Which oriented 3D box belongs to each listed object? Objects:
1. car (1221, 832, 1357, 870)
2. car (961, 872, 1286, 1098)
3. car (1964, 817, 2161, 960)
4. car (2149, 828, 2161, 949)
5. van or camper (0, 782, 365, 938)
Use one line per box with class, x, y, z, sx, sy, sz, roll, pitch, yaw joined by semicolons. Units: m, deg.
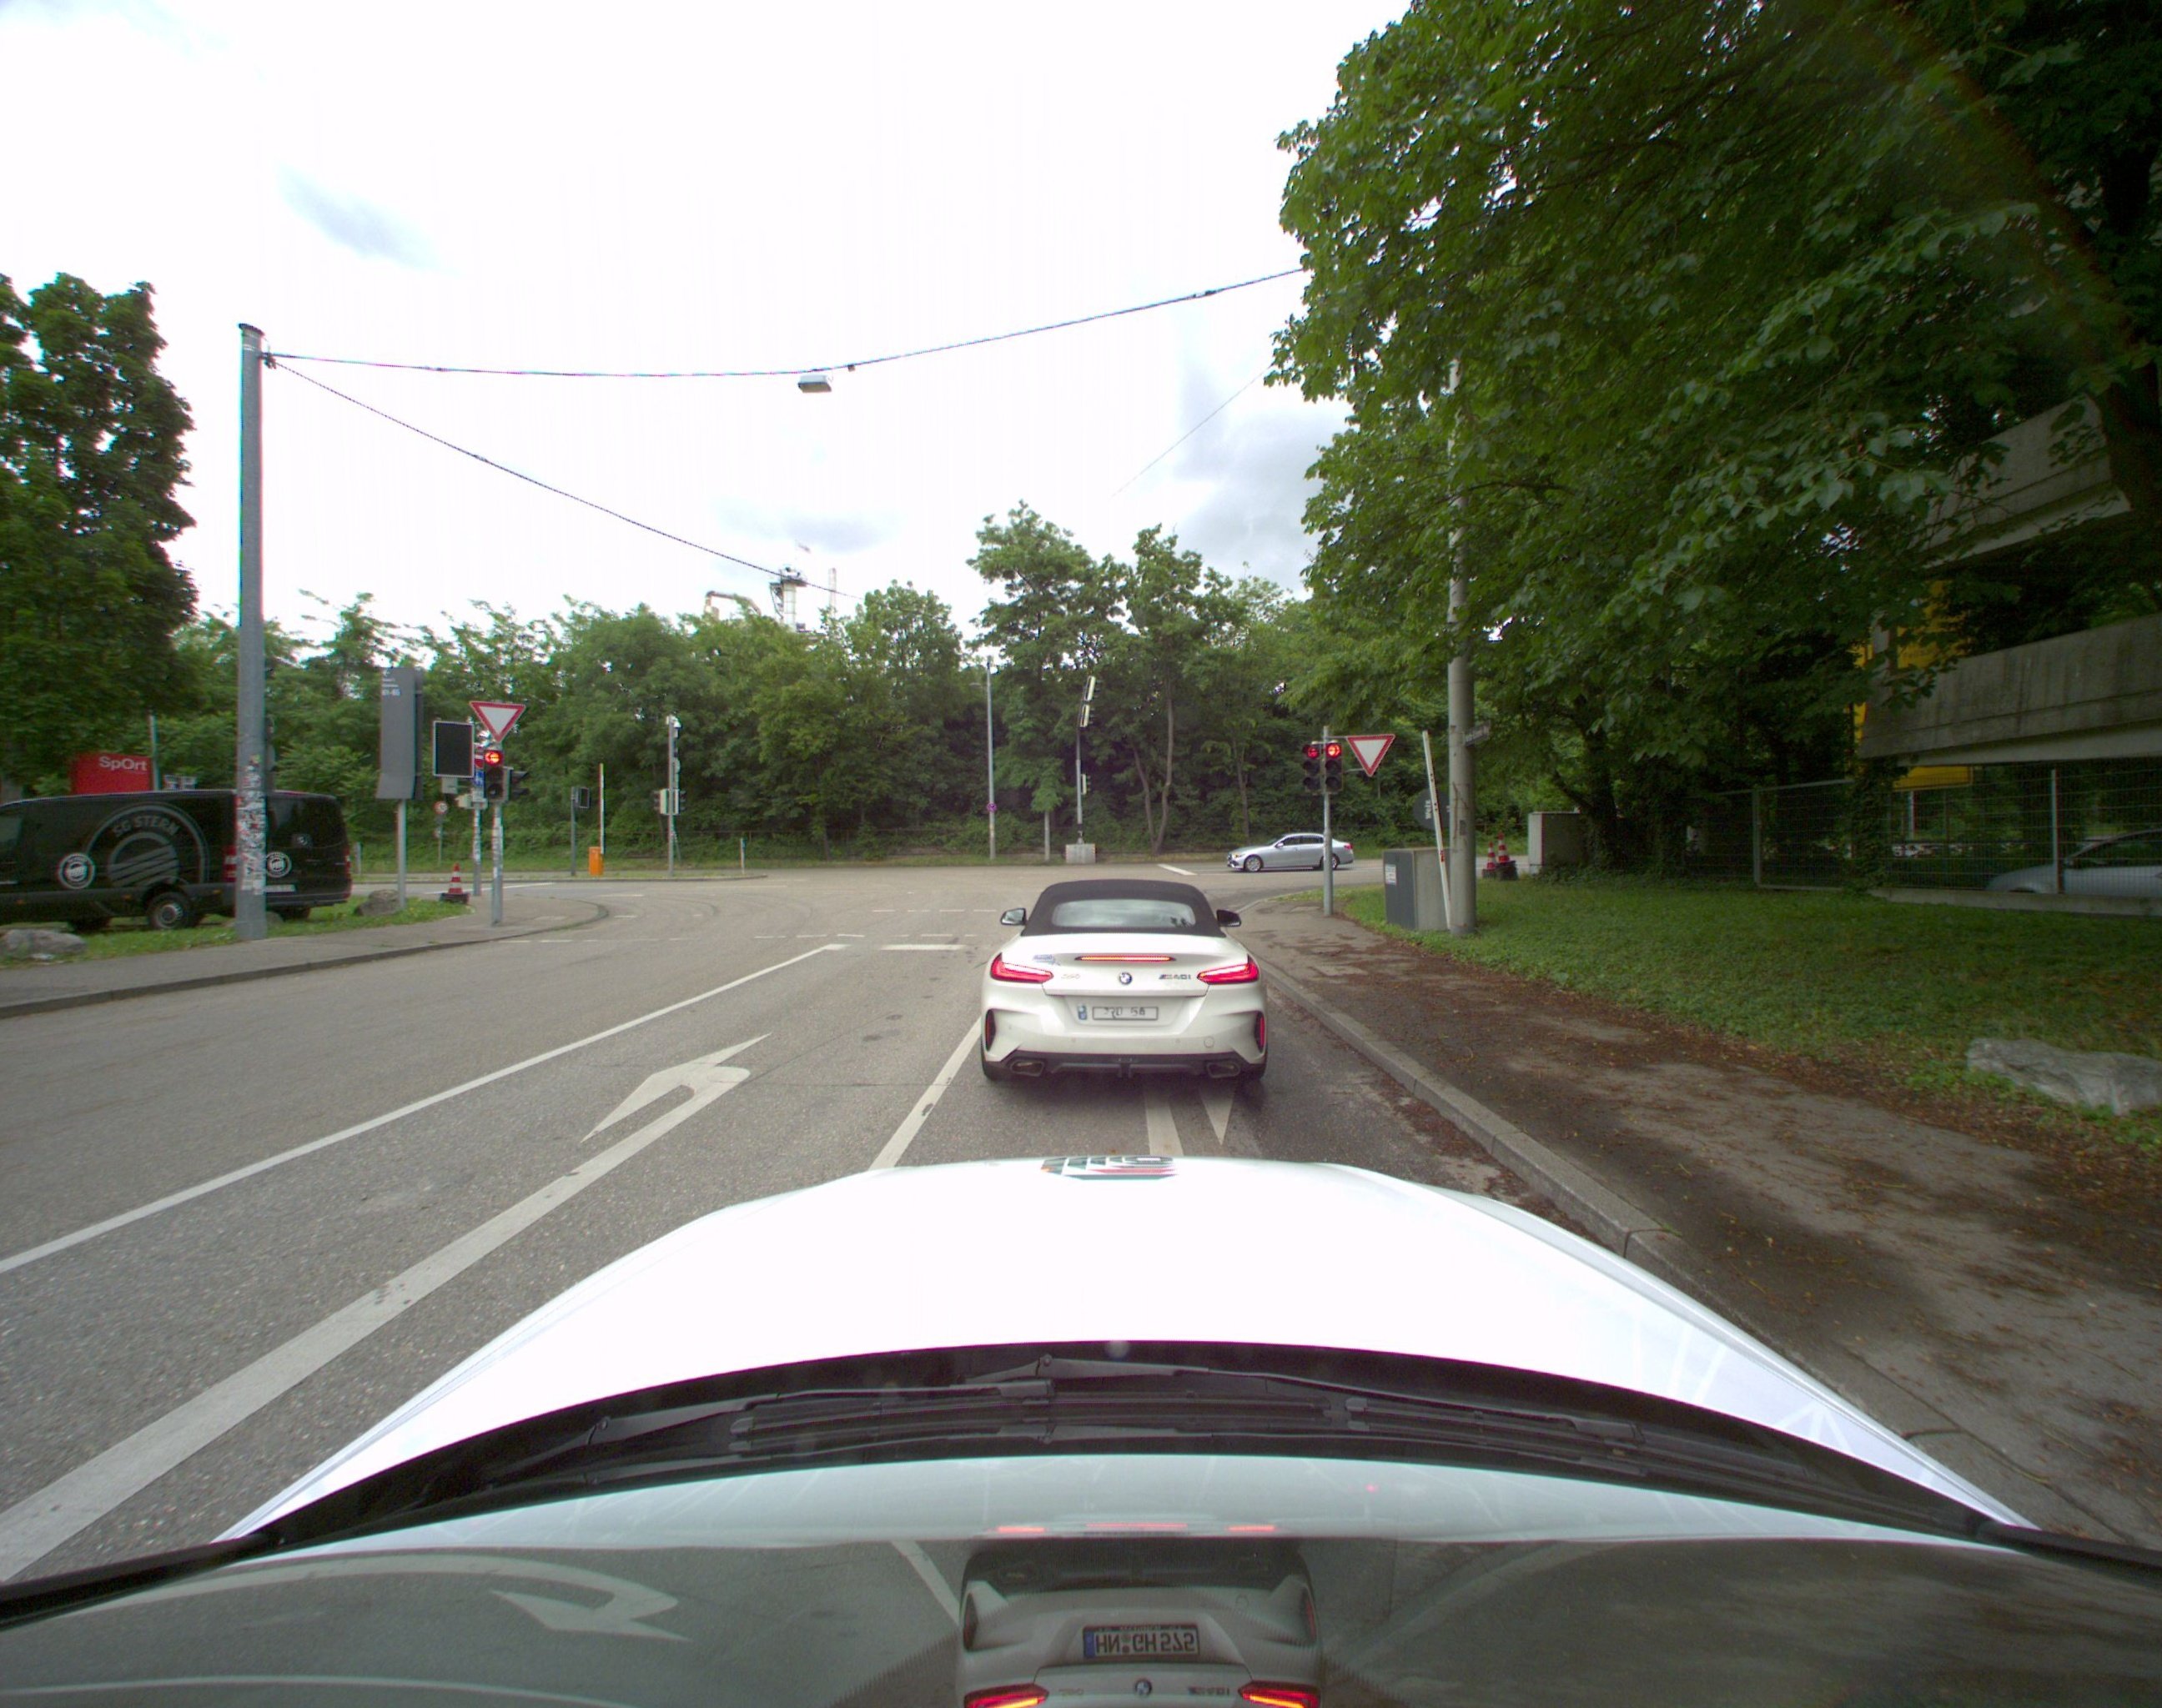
car;7.852;-0.138;31.006;4.735;1.333;1.834;-1;2;0
car;0.243;0.786;6.578;1.822;1.257;3.998;0;-1;0
car;13.615;0.425;10.043;1.475;1.708;3.720;0;-1;2
car;16.008;0.451;9.736;1.574;1.708;3.770;0;-1;2
van or camper;-15.889;0.155;13.942;5.513;2.314;2.063;-2;-2;2
